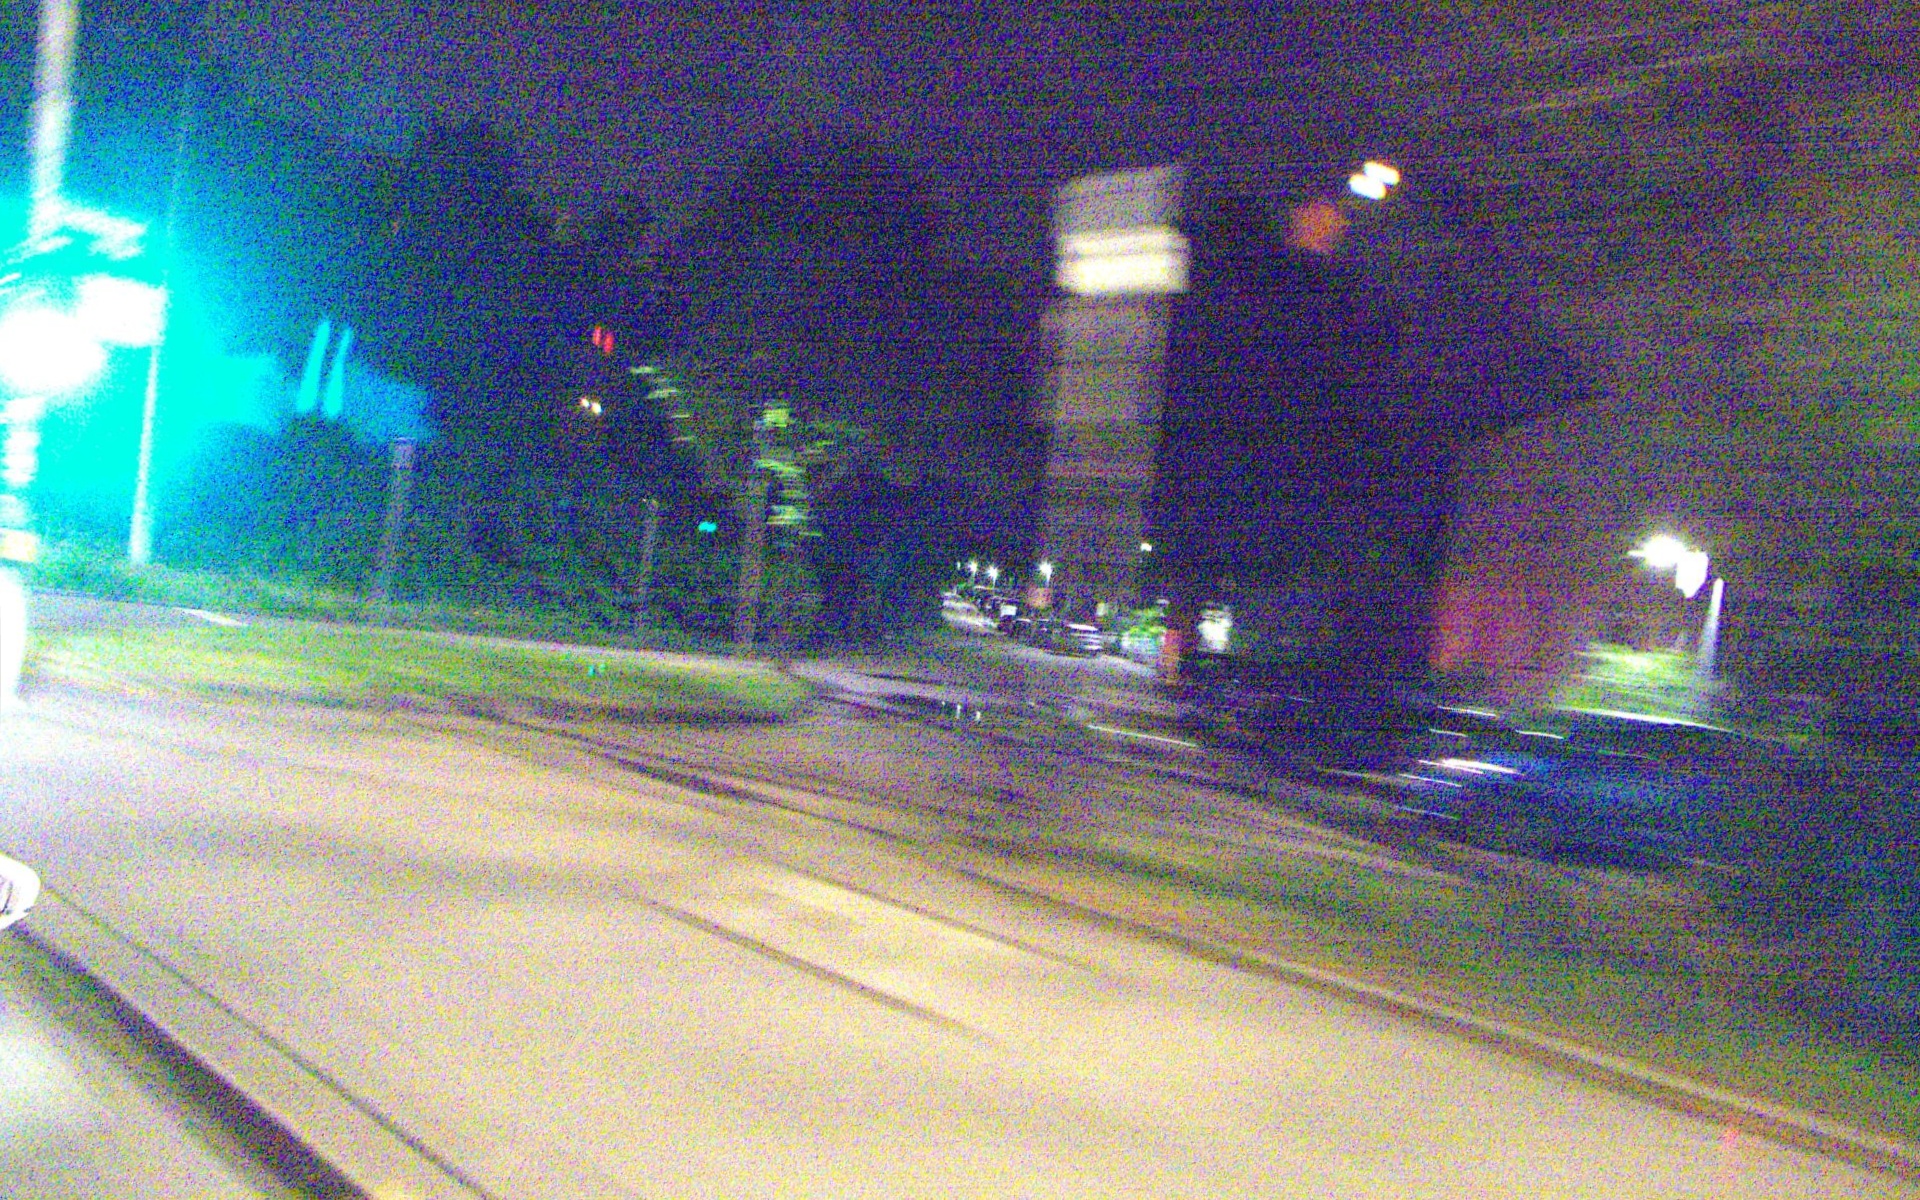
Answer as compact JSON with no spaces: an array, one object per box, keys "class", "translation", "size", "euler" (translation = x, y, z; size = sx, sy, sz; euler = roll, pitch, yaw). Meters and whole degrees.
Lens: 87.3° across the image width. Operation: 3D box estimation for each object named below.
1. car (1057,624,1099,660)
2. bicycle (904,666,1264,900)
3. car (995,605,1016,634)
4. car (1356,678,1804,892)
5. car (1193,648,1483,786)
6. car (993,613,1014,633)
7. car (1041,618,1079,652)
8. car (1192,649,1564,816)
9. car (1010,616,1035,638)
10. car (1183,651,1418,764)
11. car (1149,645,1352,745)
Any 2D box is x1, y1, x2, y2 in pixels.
[{"class":"car","translation":[6.114,2.153,52.675],"size":[1.729,1.563,3.871],"euler":[7,-1,3]},{"class":"bicycle","translation":[0.630,0.940,5.530],"size":[1.911,0.994,0.296],"euler":[4,-1,26]},{"class":"car","translation":[4.362,1.878,97.316],"size":[1.649,2.512,4.750],"euler":[7,0,1]},{"class":"car","translation":[6.360,1.863,10.658],"size":[3.526,1.522,1.709],"euler":[8,-1,2]},{"class":"car","translation":[6.205,1.894,16.877],"size":[4.022,1.635,1.814],"euler":[8,-1,2]},{"class":"car","translation":[3.972,2.047,91.577],"size":[1.649,1.553,3.870],"euler":[7,-1,1]},{"class":"car","translation":[5.840,2.025,59.232],"size":[1.839,1.716,4.177],"euler":[7,0,3]},{"class":"car","translation":[5.745,1.796,14.283],"size":[4.330,1.583,1.924],"euler":[8,-1,2]},{"class":"car","translation":[4.968,2.145,80.312],"size":[1.649,1.553,3.870],"euler":[7,-1,1]},{"class":"car","translation":[6.456,2.021,19.413],"size":[3.798,1.533,1.763],"euler":[8,0,2]},{"class":"car","translation":[6.285,2.044,22.085],"size":[3.798,1.563,1.762],"euler":[8,0,2]}]
